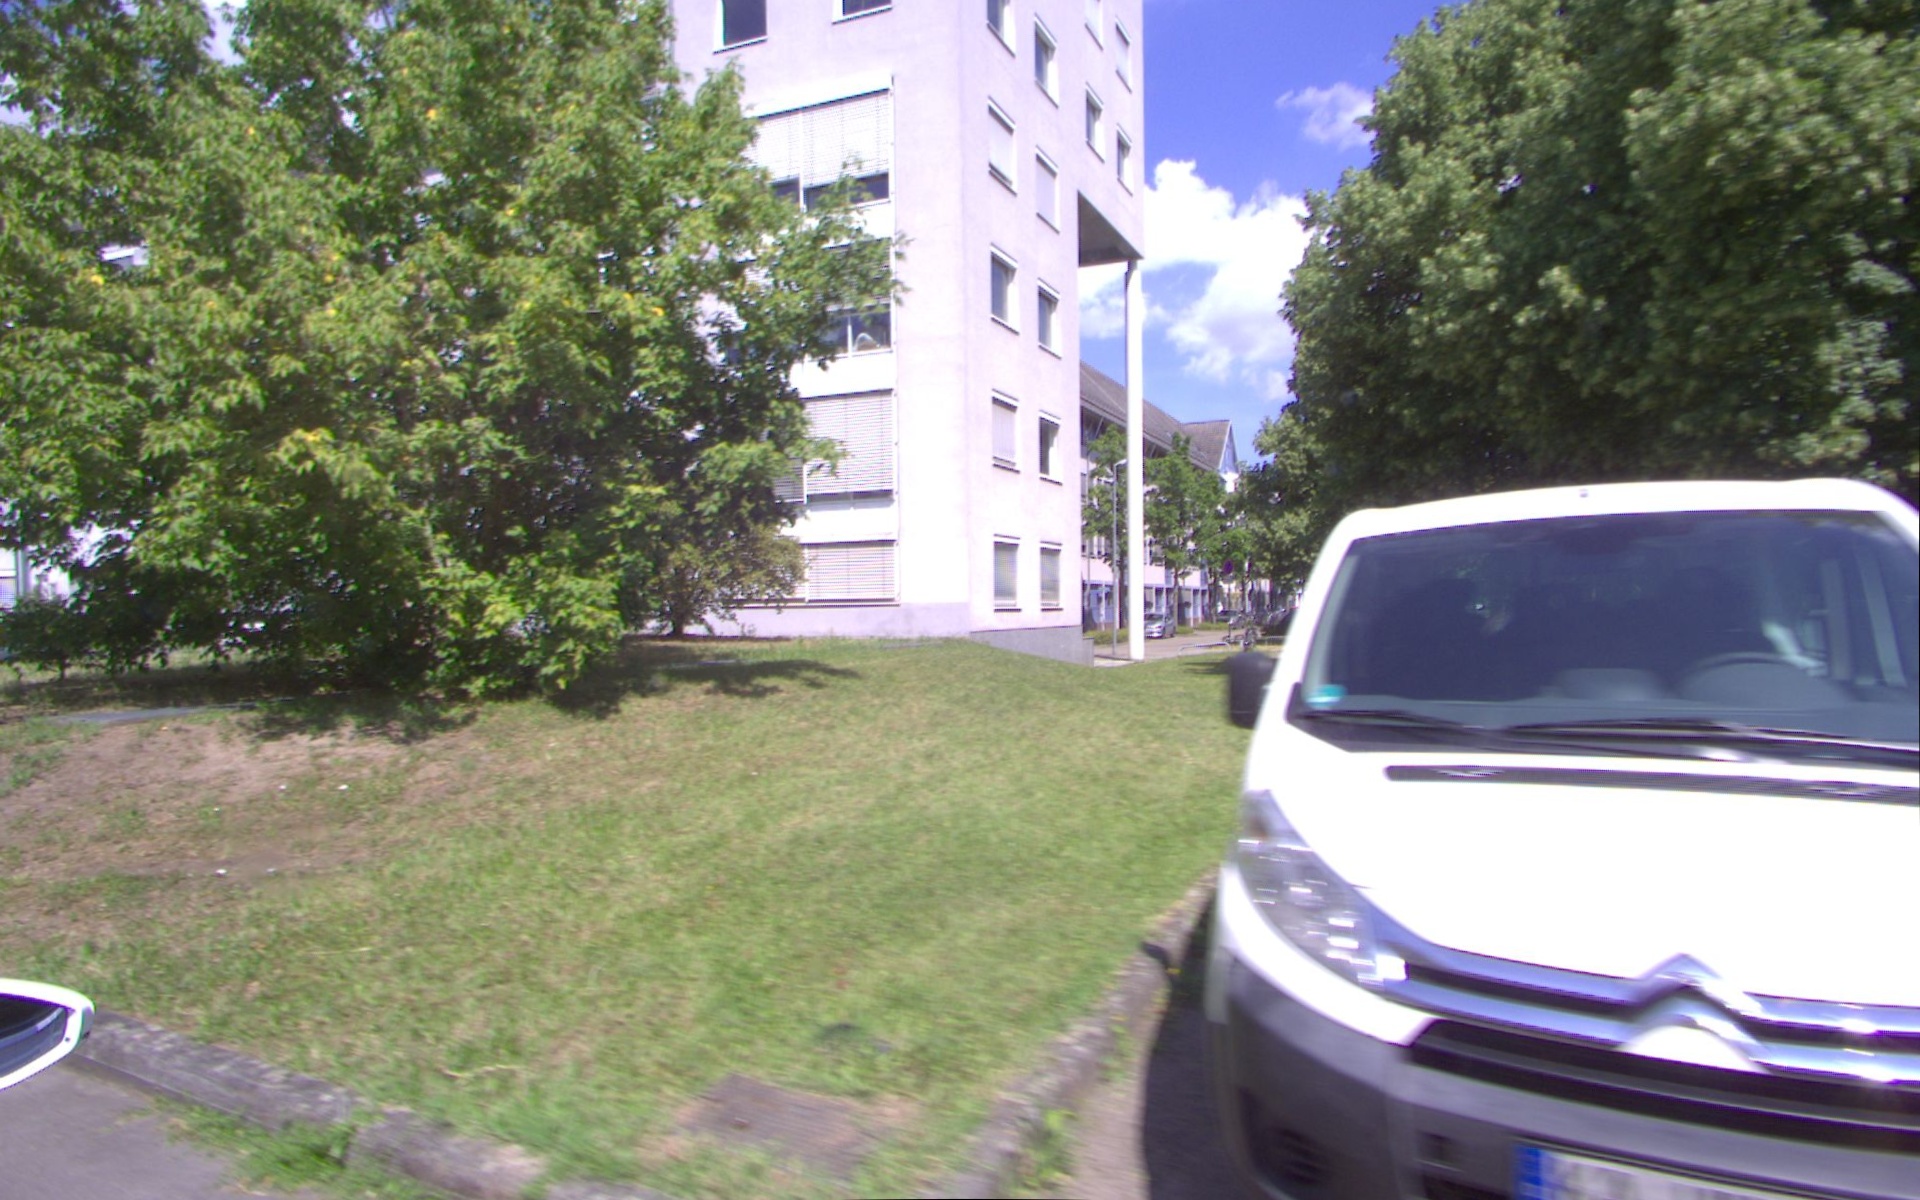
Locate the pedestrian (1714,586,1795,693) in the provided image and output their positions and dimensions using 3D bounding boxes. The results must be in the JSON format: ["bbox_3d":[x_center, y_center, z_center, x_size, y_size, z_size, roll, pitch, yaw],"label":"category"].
[{"bbox_3d":[12.101,0.592,15.278,0.728,1.585,0.749,0,1,17],"label":"pedestrian"}]

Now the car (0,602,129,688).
[{"bbox_3d":[-17.901,0.820,18.150,1.775,1.498,3.986,0,1,25],"label":"car"}]

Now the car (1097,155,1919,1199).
[{"bbox_3d":[2.242,0.425,3.537,1.969,2.040,4.755,-1,0,28],"label":"car"}]

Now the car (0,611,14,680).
[{"bbox_3d":[-21.213,0.955,19.265,1.775,1.409,3.986,0,1,25],"label":"car"}]

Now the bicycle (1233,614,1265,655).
[{"bbox_3d":[8.209,0.950,28.421,0.592,1.099,1.933,0,0,25],"label":"bicycle"}]
